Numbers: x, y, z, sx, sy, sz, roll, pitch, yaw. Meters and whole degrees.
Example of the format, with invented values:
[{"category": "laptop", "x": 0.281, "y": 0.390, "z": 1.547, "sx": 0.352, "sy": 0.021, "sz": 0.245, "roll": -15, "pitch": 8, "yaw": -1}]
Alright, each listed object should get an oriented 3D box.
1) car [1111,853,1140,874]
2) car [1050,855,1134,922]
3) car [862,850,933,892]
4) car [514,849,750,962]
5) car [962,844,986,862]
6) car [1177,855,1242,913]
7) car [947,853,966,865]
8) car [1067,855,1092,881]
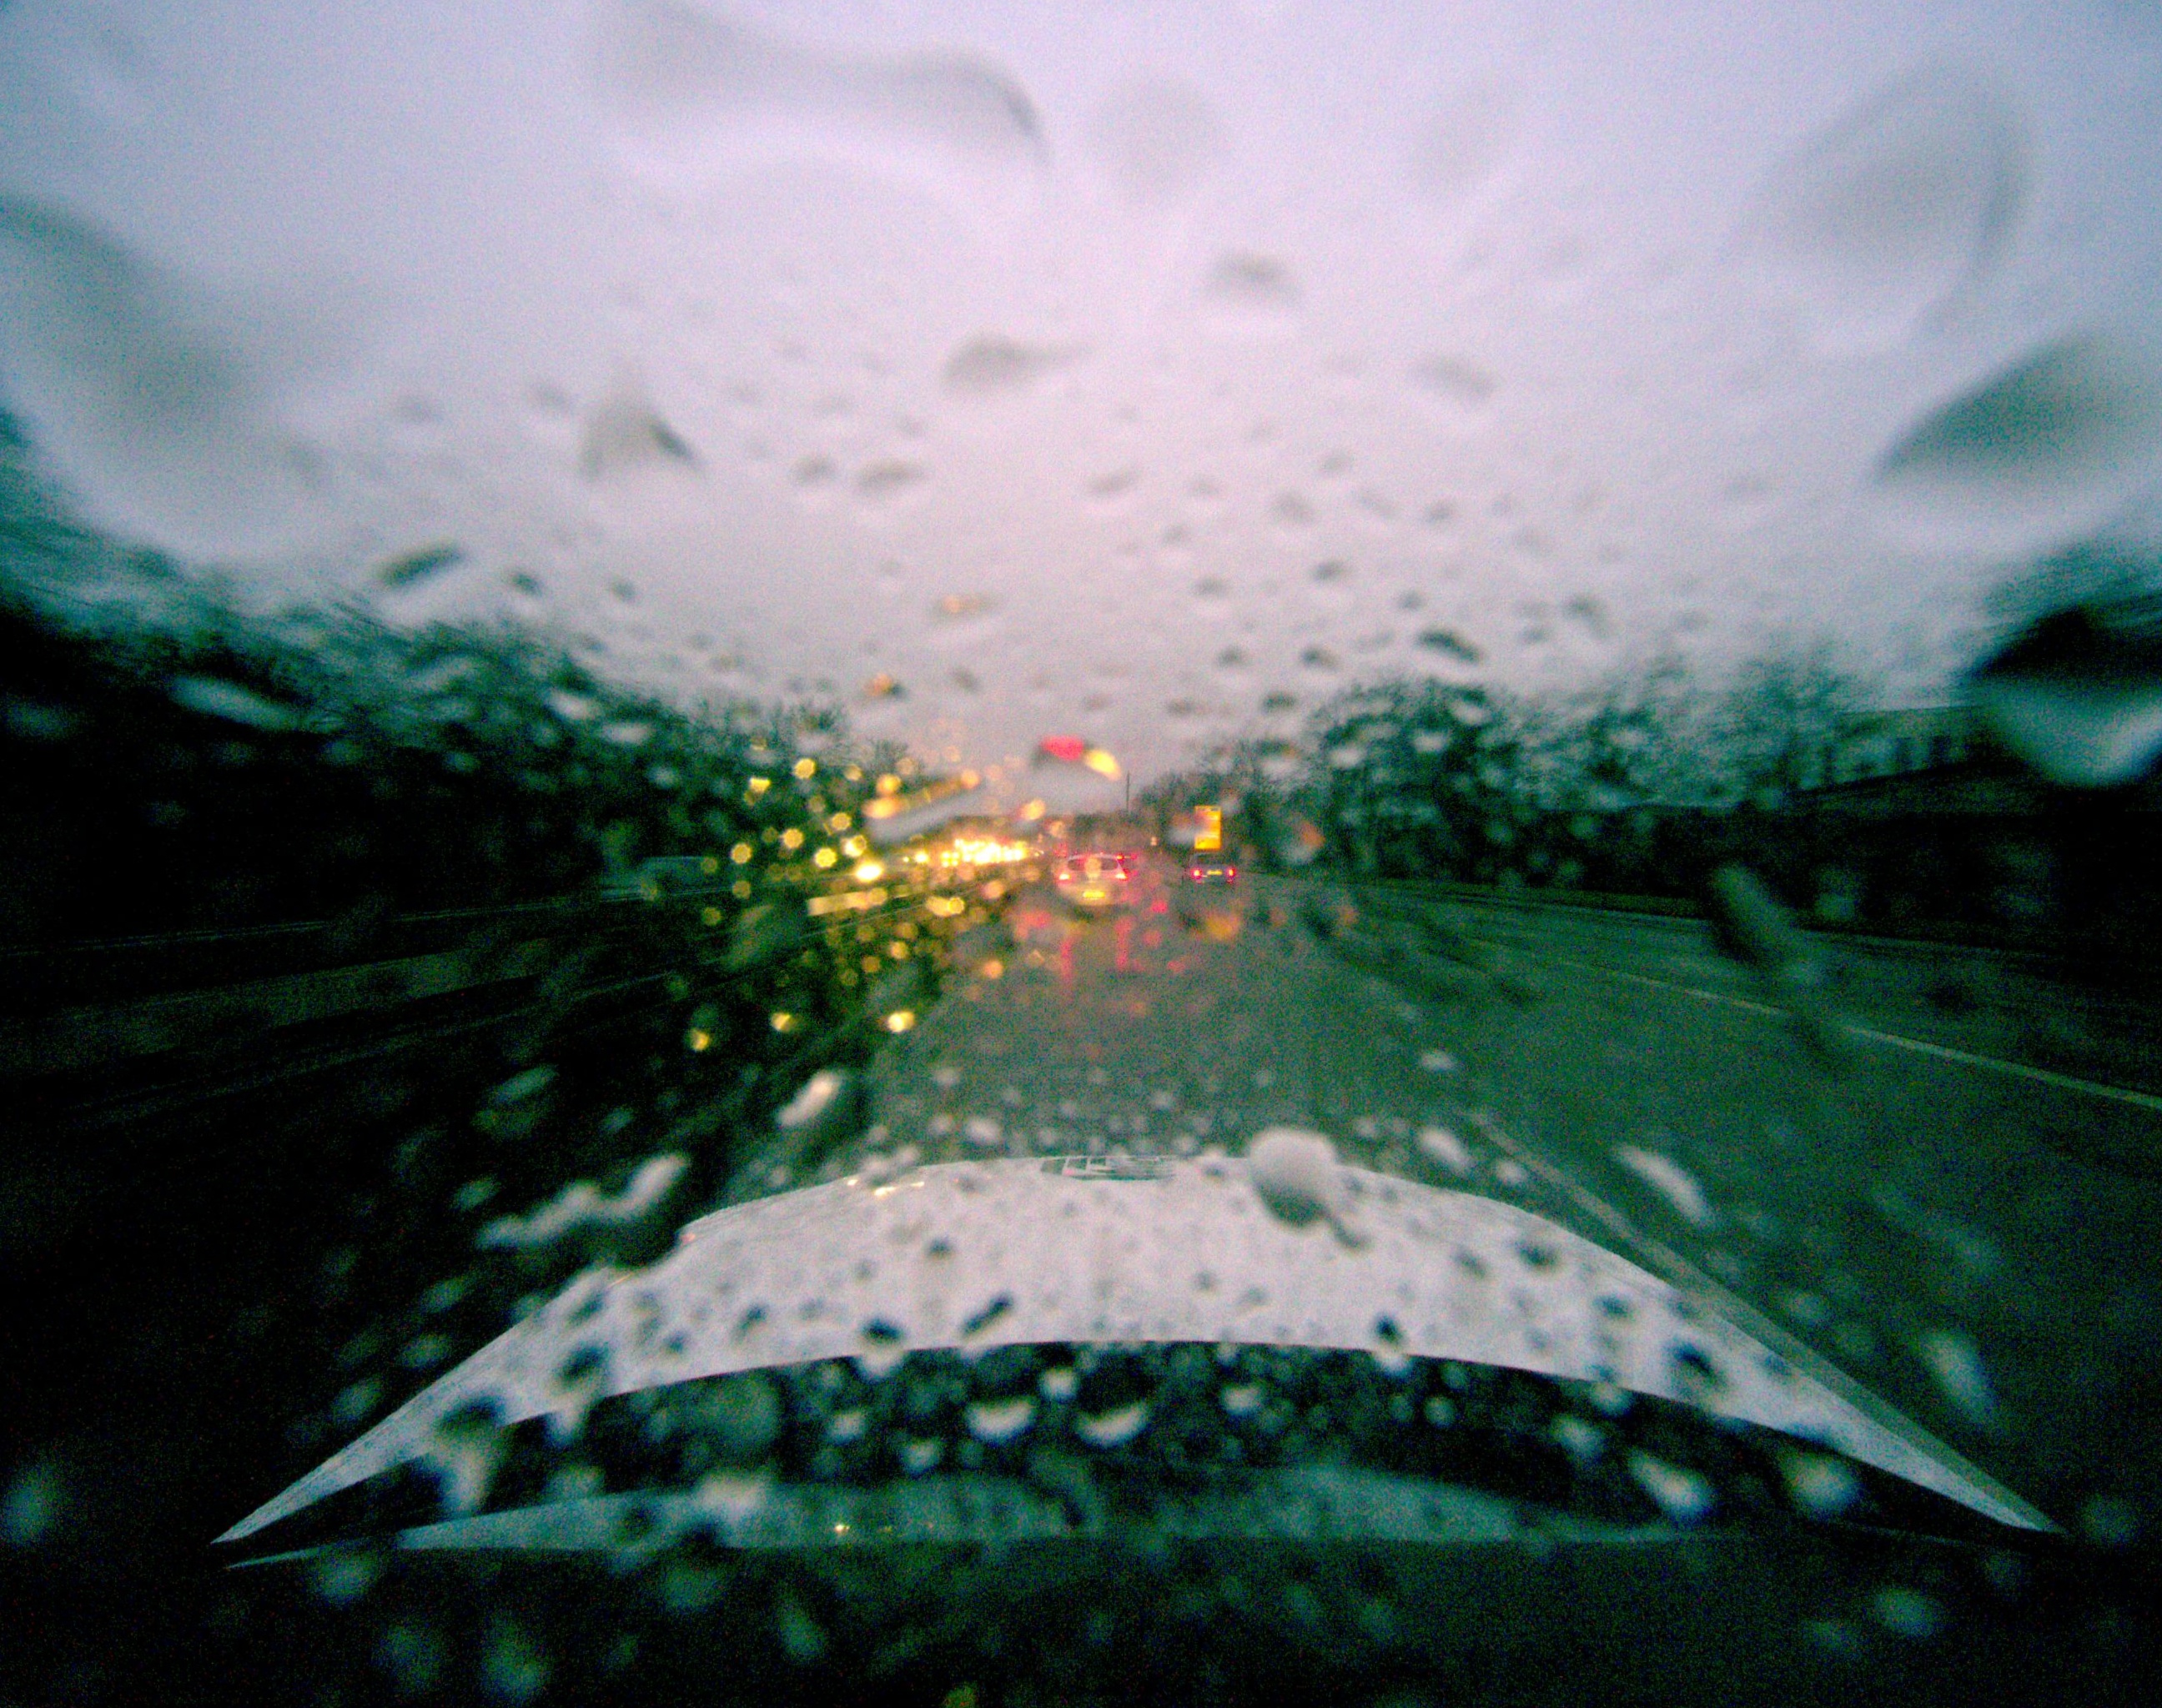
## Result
[{"category": "car", "x": 3.846, "y": 0.855, "z": 70.989, "sx": 1.929, "sy": 1.546, "sz": 3.768, "roll": -5, "pitch": -1, "yaw": -4}, {"category": "car", "x": 0.371, "y": 0.839, "z": 21.636, "sx": 2.016, "sy": 1.575, "sz": 4.003, "roll": 0, "pitch": 0, "yaw": 3}, {"category": "car", "x": -7.071, "y": 0.628, "z": 31.781, "sx": 1.777, "sy": 1.510, "sz": 4.135, "roll": 0, "pitch": 0, "yaw": 1}, {"category": "car", "x": -6.801, "y": 0.707, "z": 12.792, "sx": 1.647, "sy": 1.519, "sz": 3.506, "roll": 0, "pitch": 0, "yaw": 2}, {"category": "car", "x": -11.265, "y": -0.132, "z": 86.052, "sx": 1.877, "sy": 1.832, "sz": 4.786, "roll": 1, "pitch": 0, "yaw": 0}, {"category": "car", "x": 4.754, "y": 1.058, "z": 30.596, "sx": 1.925, "sy": 2.019, "sz": 3.774, "roll": 0, "pitch": 0, "yaw": 1}, {"category": "car", "x": -15.956, "y": 0.669, "z": 104.346, "sx": 1.857, "sy": 1.539, "sz": 4.112, "roll": 1, "pitch": 0, "yaw": -1}, {"category": "car", "x": -0.095, "y": 1.123, "z": 66.518, "sx": 1.987, "sy": 2.014, "sz": 4.000, "roll": 0, "pitch": 0, "yaw": 1}]
